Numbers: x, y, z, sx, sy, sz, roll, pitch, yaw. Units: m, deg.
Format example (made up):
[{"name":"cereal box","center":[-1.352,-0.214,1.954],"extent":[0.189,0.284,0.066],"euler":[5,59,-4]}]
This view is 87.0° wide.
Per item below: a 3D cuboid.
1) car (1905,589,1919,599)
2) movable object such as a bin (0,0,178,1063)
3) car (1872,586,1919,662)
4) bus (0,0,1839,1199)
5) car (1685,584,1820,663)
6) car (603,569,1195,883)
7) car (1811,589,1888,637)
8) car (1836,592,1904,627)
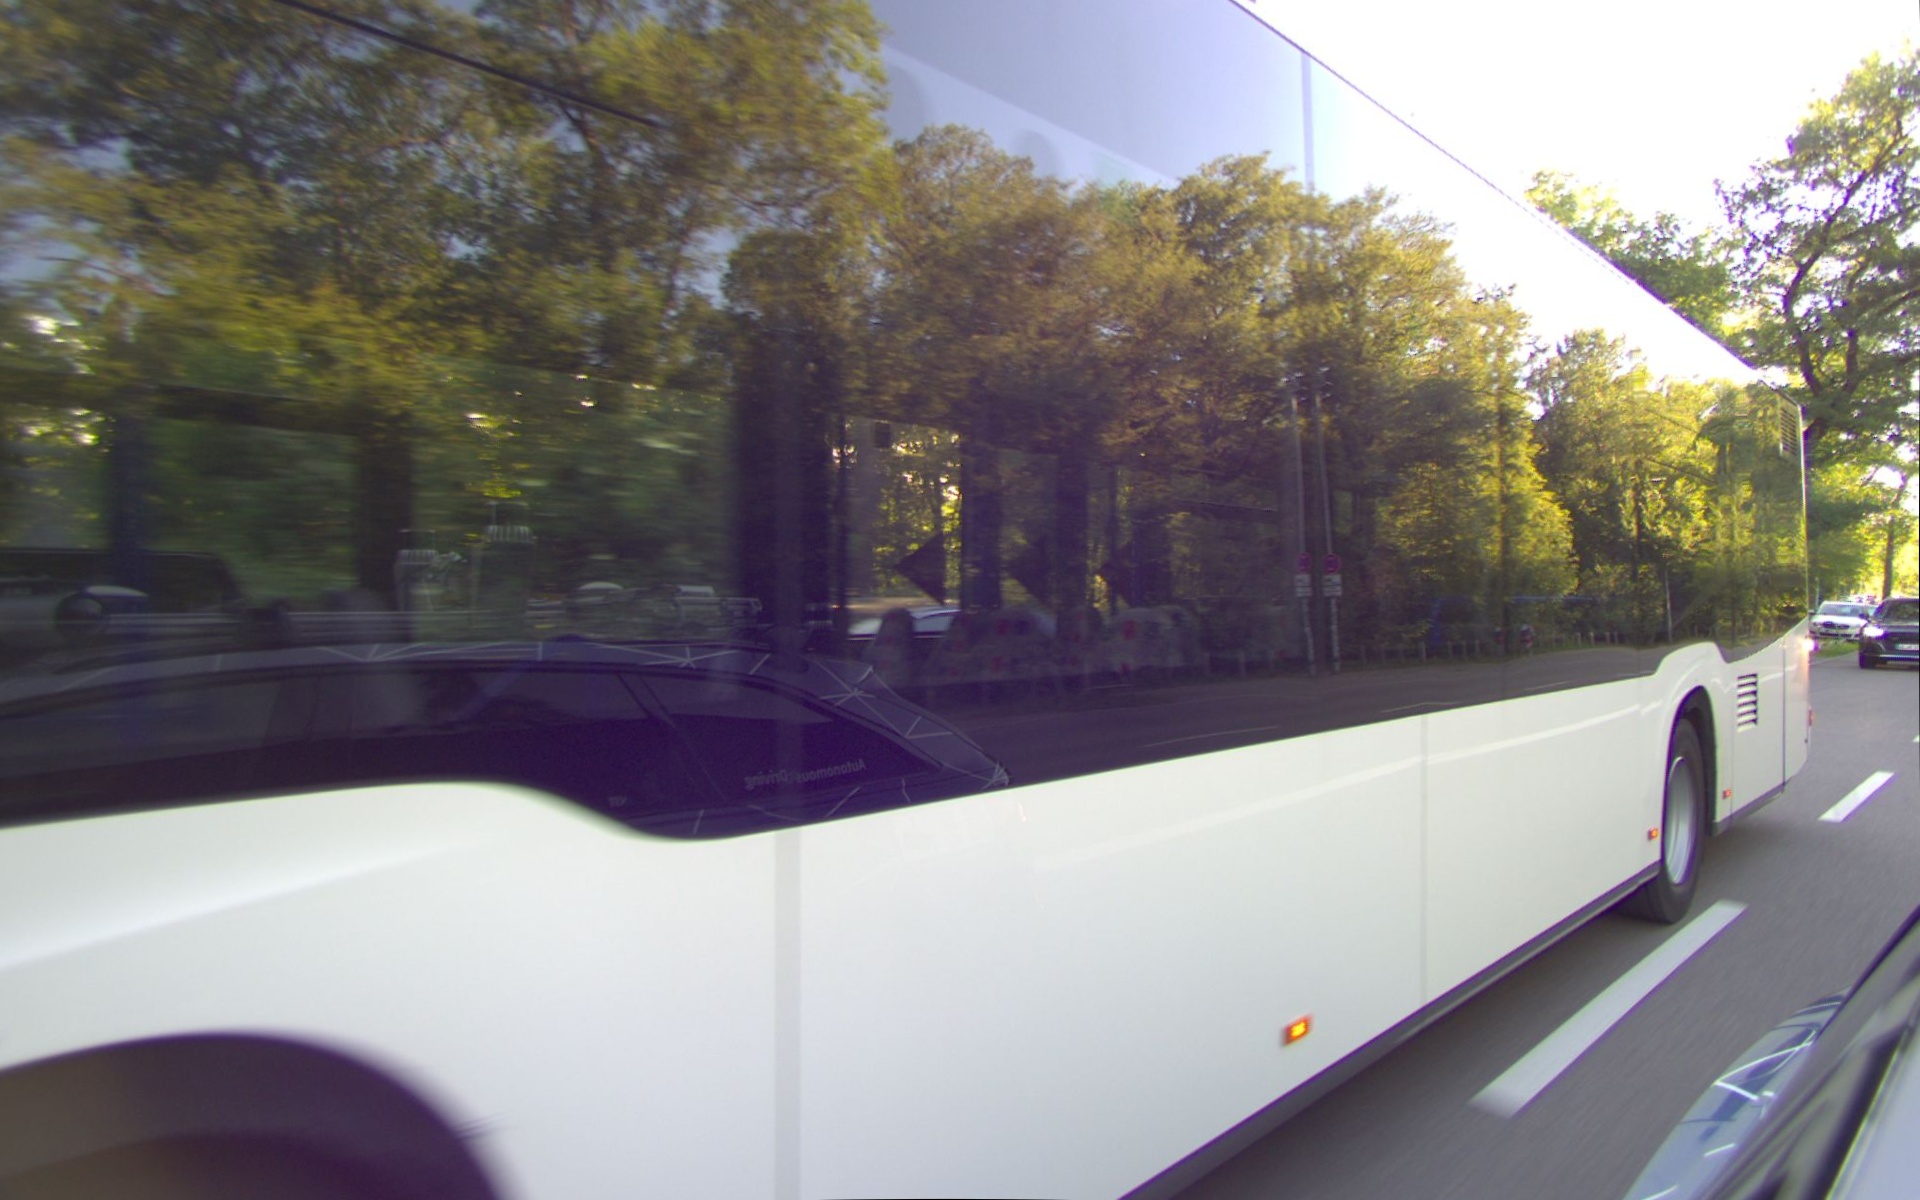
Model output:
[{"name":"car","center":[170.158,-1.043,180.615],"extent":[1.904,1.778,4.728],"euler":[2,2,41]},{"name":"movable object such as a bin","center":[-6.193,-0.334,1.691],"extent":[7.476,3.412,2.761],"euler":[0,1,-45]},{"name":"car","center":[22.251,0.517,23.131],"extent":[3.935,1.638,1.857],"euler":[0,0,-45]},{"name":"bus","center":[0.696,-0.151,3.872],"extent":[12.069,3.263,2.707],"euler":[0,0,-43]},{"name":"car","center":[18.721,0.486,23.838],"extent":[1.995,1.576,4.032],"euler":[5,4,44]},{"name":"car","center":[-0.215,0.609,7.160],"extent":[4.021,1.594,1.729],"euler":[0,1,-43]},{"name":"car","center":[32.246,0.427,36.642],"extent":[4.102,1.529,1.730],"euler":[0,4,-44]},{"name":"car","center":[40.708,0.393,45.237],"extent":[4.446,1.408,1.856],"euler":[0,4,-44]}]
